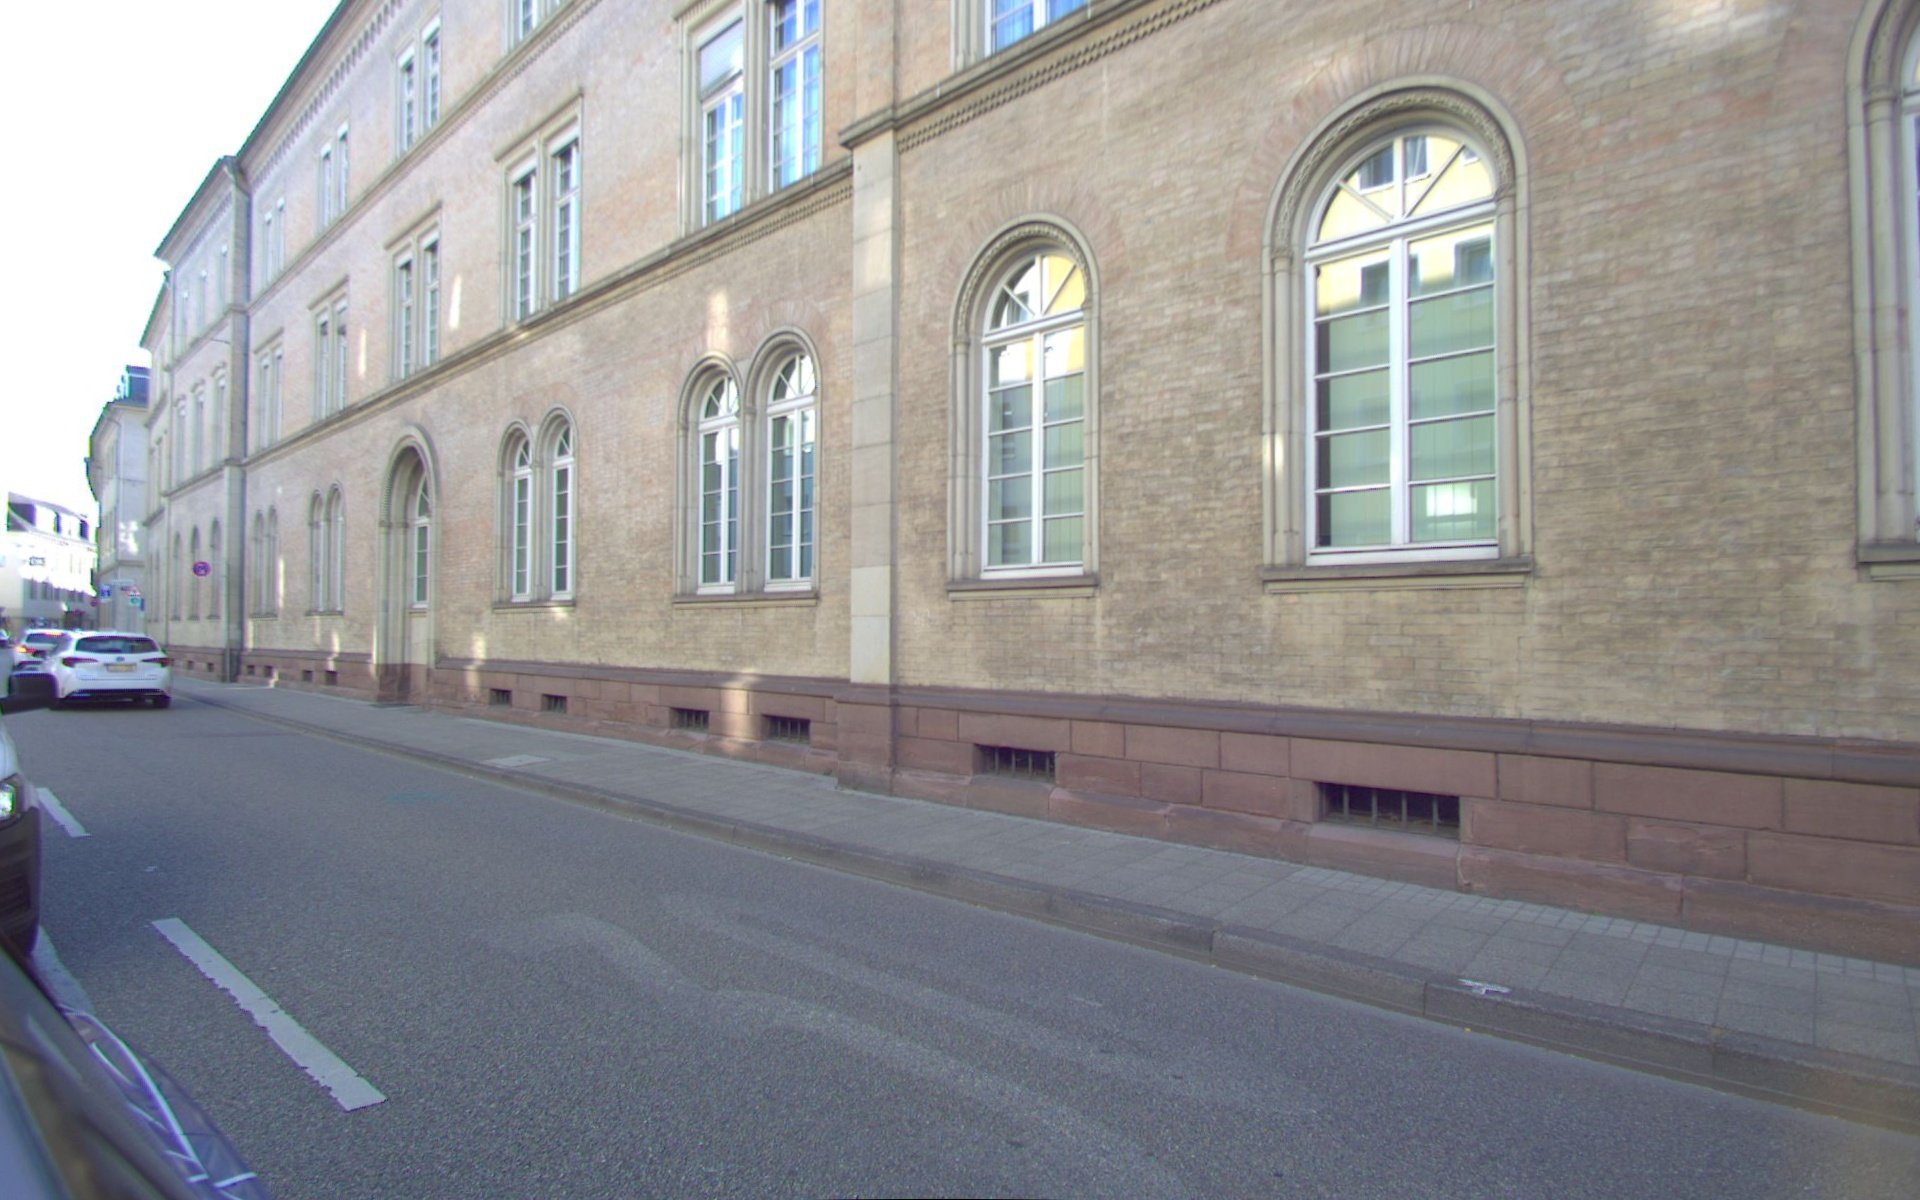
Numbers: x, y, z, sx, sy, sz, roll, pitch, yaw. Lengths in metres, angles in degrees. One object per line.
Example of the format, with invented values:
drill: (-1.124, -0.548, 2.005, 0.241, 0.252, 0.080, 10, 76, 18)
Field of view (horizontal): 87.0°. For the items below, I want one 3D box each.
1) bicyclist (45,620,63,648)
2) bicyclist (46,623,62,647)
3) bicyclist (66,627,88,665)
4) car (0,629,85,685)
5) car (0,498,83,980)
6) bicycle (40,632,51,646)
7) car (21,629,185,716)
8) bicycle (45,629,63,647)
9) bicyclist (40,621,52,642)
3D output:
bicyclist: (-52.133, 1.968, 58.212, 0.642, 1.579, 0.961, 5, -5, -44)
bicyclist: (-58.172, 2.277, 64.971, 0.642, 1.520, 1.113, 5, -5, -41)
bicyclist: (-34.663, 1.803, 39.732, 0.579, 1.454, 0.596, -2, -3, 45)
car: (-28.123, 1.737, 30.900, 4.276, 1.595, 1.666, -2, -5, 44)
car: (-6.134, 0.579, 5.148, 5.338, 1.850, 1.795, -2, -3, 41)
bicycle: (-68.246, 2.878, 75.519, 0.538, 1.014, 1.759, 5, -5, -41)
car: (-16.716, 1.353, 19.665, 4.545, 1.487, 1.866, -1, -4, 43)
bicycle: (-52.137, 2.171, 58.211, 0.642, 1.014, 1.807, 5, -5, -44)
bicyclist: (-68.182, 2.373, 75.495, 0.538, 1.545, 0.870, 5, -5, -41)
